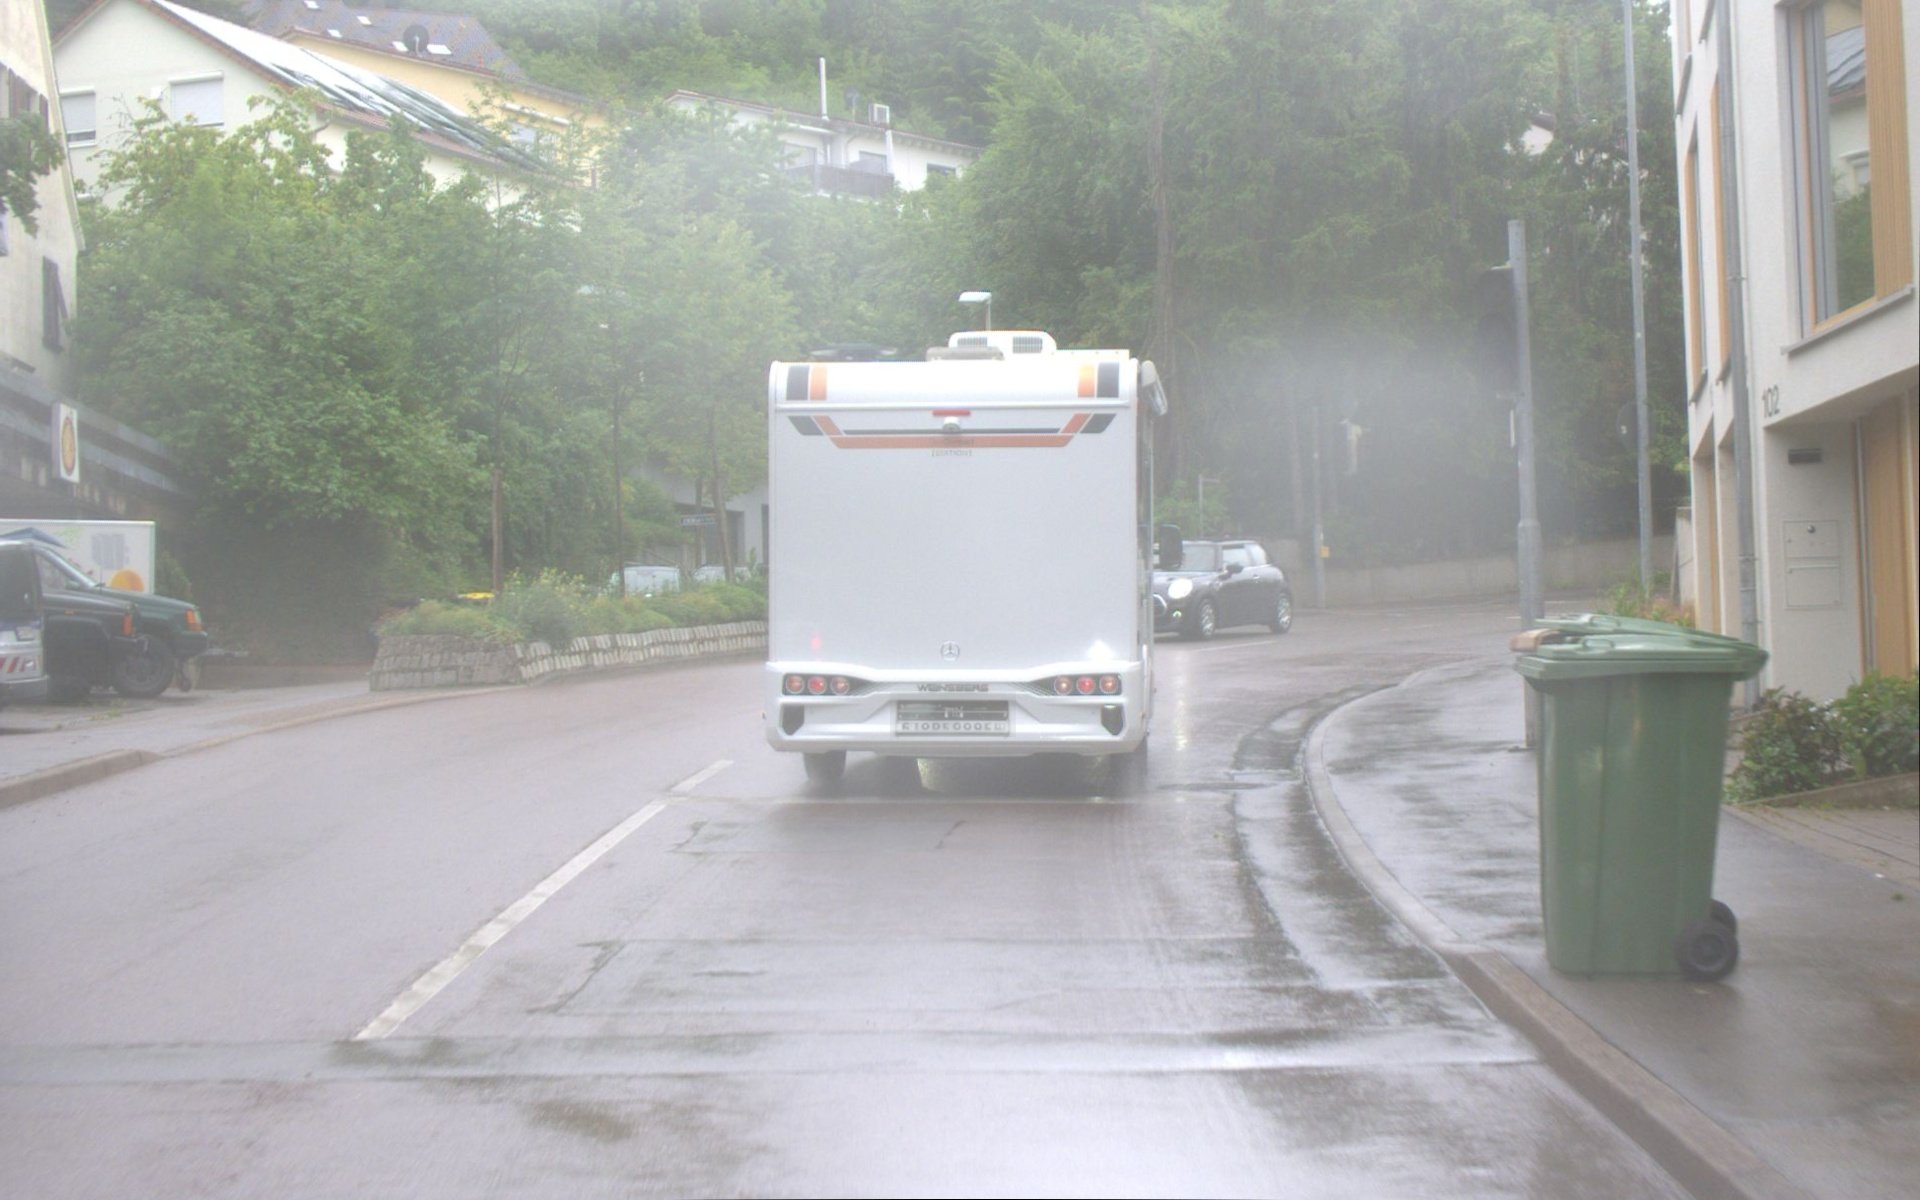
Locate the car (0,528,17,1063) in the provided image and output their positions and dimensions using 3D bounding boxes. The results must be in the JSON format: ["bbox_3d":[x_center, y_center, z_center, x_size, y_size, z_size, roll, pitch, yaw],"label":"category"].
[{"bbox_3d":[-3.606,0.603,8.193,1.804,1.548,3.830,0,1,-3],"label":"car"}]

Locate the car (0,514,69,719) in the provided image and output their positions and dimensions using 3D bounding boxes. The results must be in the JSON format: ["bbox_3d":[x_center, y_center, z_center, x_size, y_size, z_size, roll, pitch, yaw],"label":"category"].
[{"bbox_3d":[-10.422,0.133,31.220,4.106,1.794,2.000,0,1,1],"label":"car"}]

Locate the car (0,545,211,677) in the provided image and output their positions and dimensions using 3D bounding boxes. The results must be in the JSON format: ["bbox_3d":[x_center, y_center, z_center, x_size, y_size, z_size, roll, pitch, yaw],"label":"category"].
[{"bbox_3d":[-10.387,0.110,39.759,3.334,1.480,1.840,0,1,-12],"label":"car"}]

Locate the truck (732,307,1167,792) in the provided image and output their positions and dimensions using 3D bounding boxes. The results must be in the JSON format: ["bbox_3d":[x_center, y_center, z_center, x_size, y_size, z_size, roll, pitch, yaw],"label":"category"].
[{"bbox_3d":[0.015,-0.349,23.069,2.515,2.808,6.201,0,1,1],"label":"truck"}]

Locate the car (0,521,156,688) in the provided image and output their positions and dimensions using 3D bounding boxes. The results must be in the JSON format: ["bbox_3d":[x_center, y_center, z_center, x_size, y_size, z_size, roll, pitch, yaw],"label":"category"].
[{"bbox_3d":[-10.822,0.033,37.136,4.075,1.768,1.800,0,1,-10],"label":"car"}]

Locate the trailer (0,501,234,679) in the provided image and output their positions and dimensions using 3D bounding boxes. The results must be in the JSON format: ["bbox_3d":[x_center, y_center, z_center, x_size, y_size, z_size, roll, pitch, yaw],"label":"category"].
[{"bbox_3d":[-11.246,-0.109,42.825,3.947,2.095,1.954,-2,0,-23],"label":"trailer"}]

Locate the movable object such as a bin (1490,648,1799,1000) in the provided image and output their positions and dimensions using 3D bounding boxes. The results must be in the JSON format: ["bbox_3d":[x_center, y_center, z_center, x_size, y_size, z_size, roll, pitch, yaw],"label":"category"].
[{"bbox_3d":[2.164,0.696,10.955,0.835,1.057,0.750,0,1,0],"label":"movable object such as a bin"}]
